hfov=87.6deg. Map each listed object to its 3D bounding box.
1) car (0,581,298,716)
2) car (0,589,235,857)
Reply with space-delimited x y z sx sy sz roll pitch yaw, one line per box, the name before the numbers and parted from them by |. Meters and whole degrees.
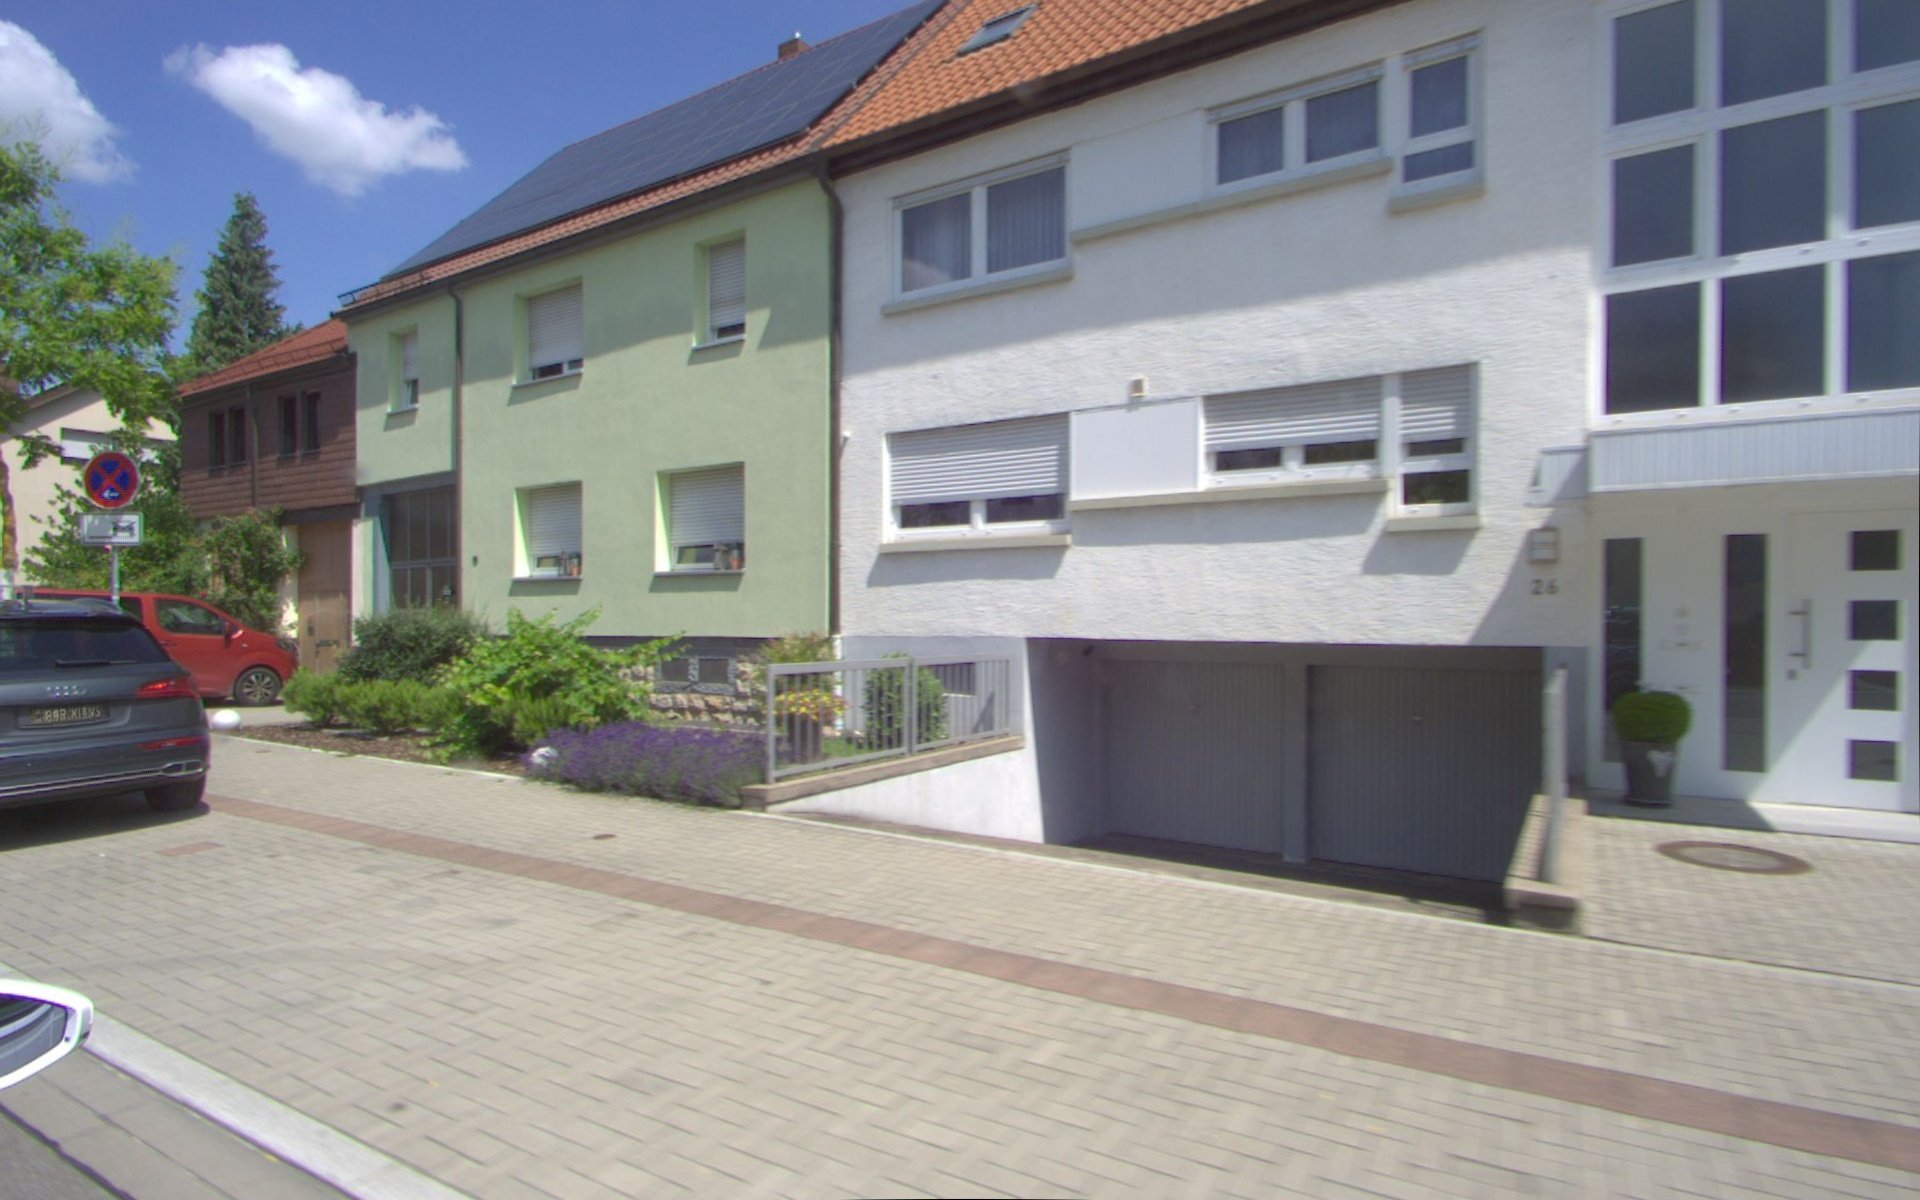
car | -13.643 0.775 16.107 1.991 1.917 4.614 -2 -3 30
car | -7.632 0.777 7.751 4.385 1.658 1.858 0 2 34
